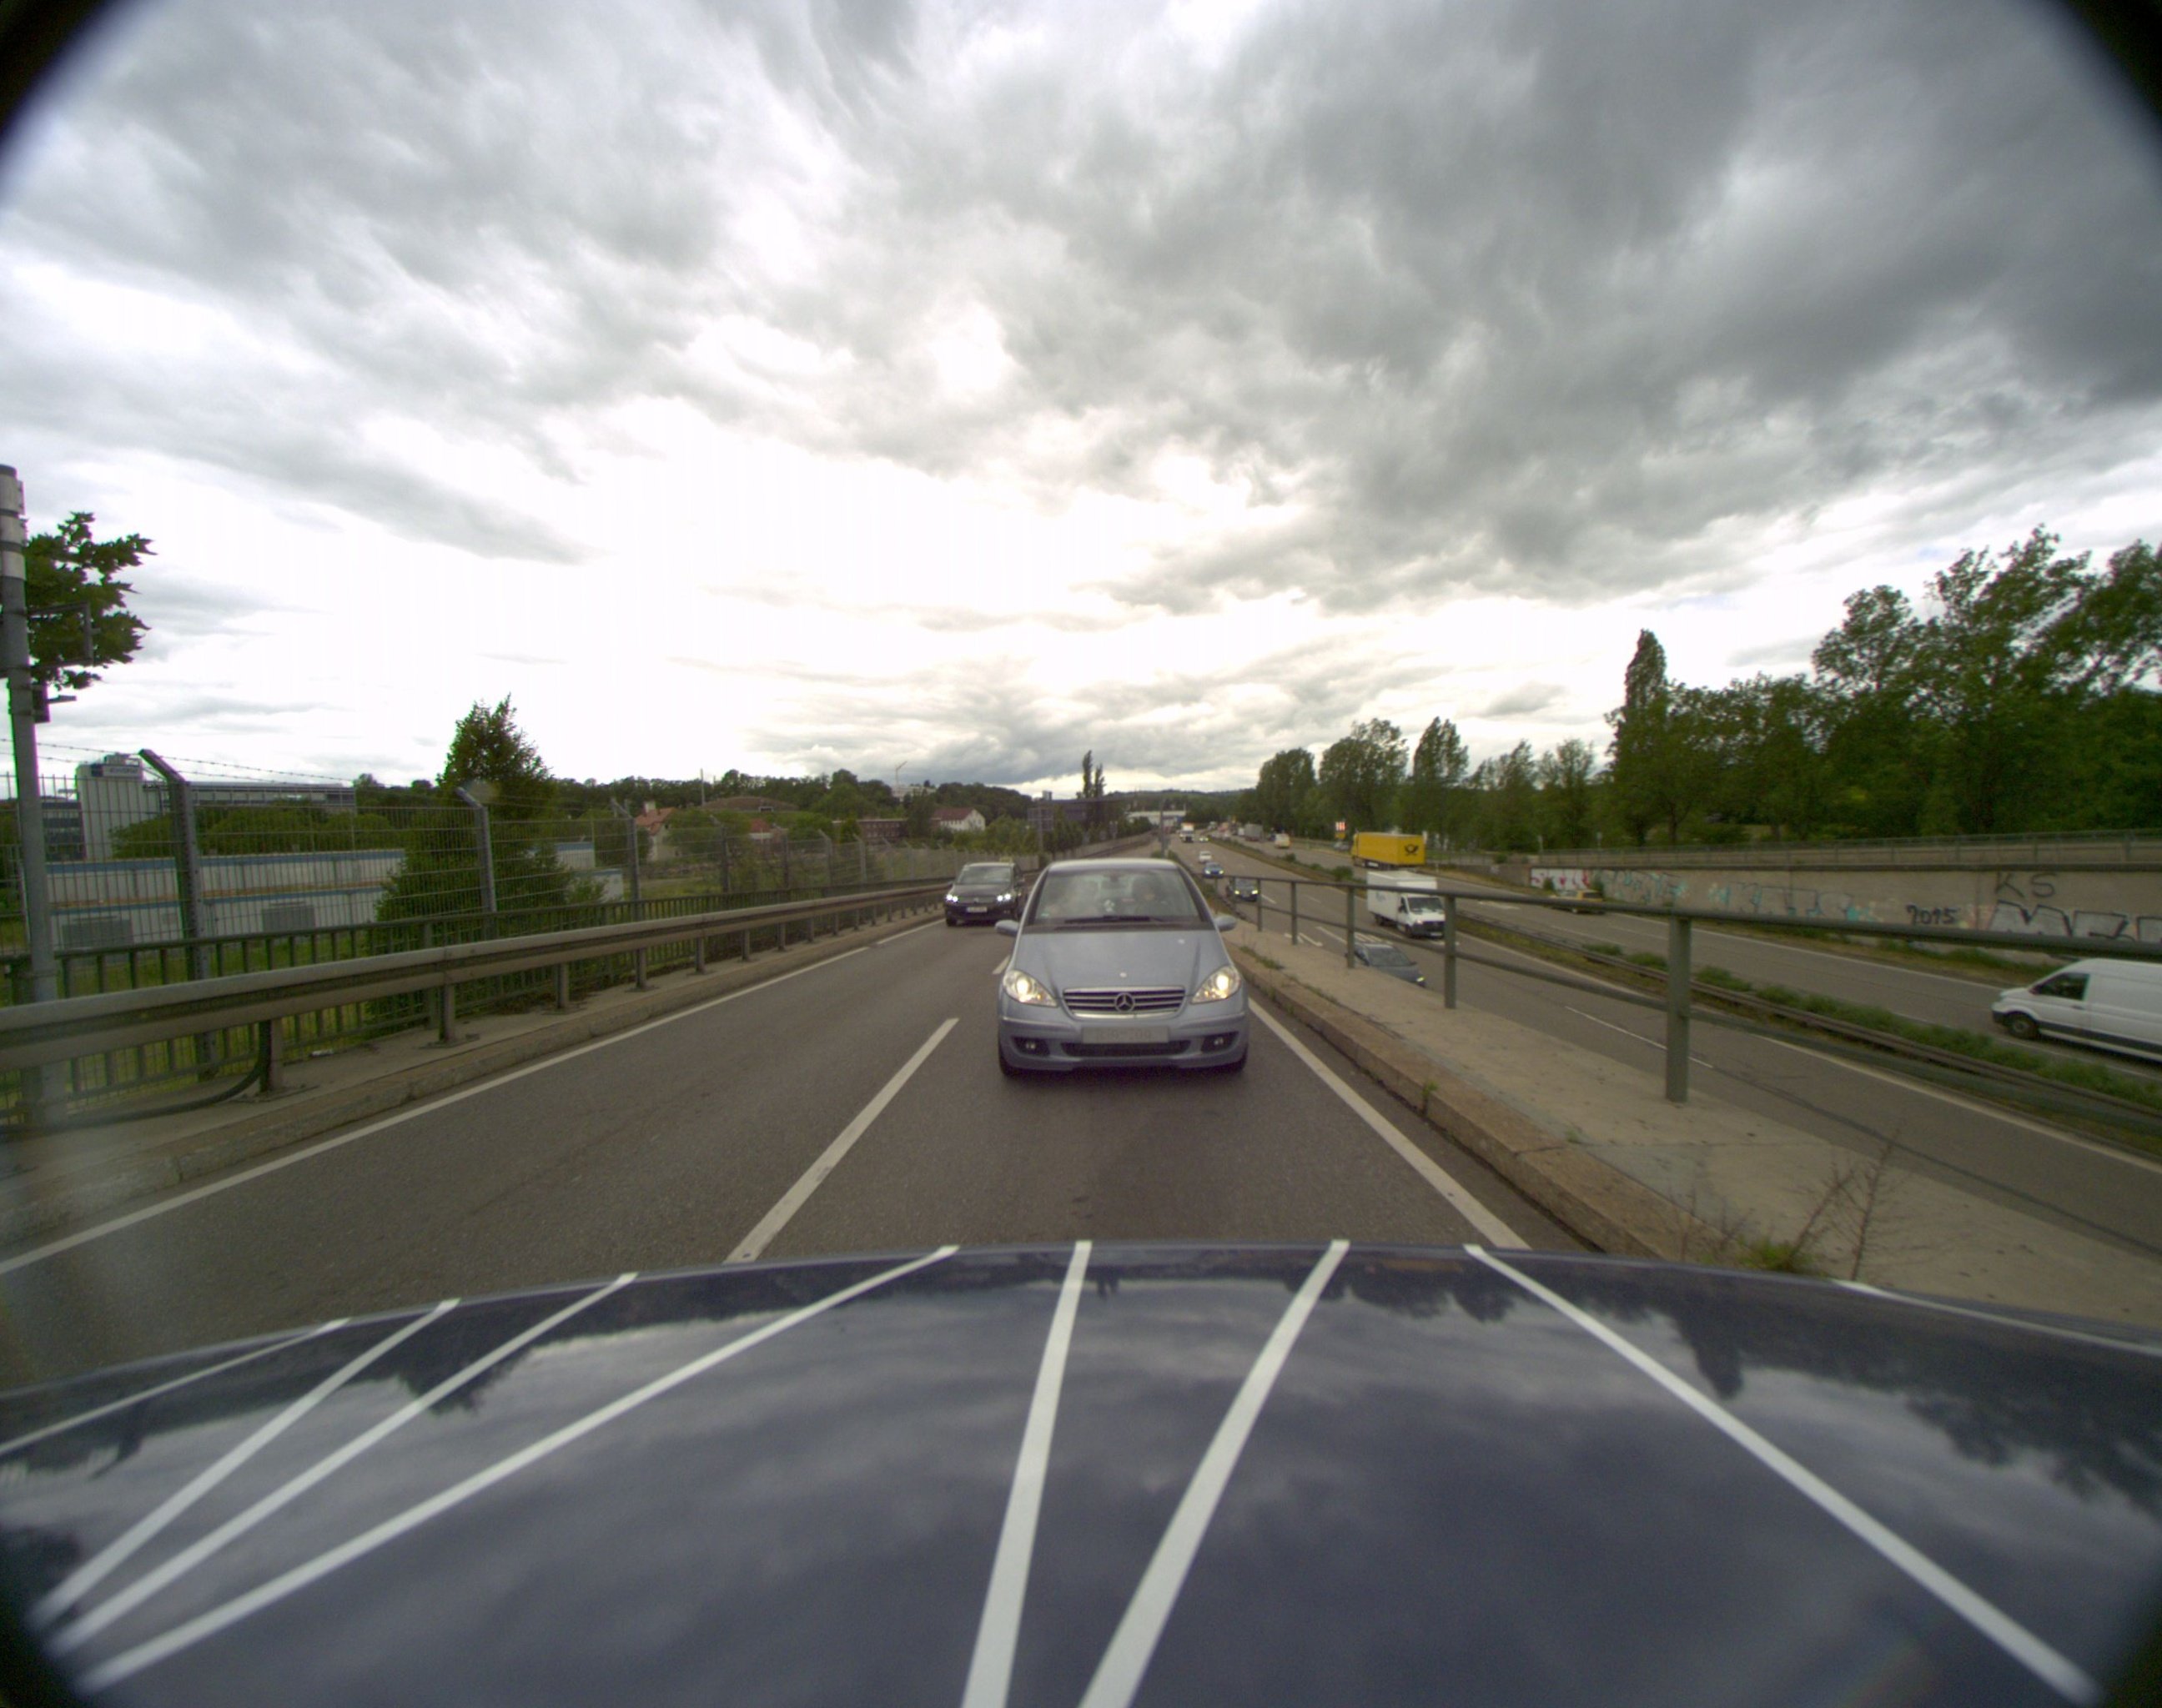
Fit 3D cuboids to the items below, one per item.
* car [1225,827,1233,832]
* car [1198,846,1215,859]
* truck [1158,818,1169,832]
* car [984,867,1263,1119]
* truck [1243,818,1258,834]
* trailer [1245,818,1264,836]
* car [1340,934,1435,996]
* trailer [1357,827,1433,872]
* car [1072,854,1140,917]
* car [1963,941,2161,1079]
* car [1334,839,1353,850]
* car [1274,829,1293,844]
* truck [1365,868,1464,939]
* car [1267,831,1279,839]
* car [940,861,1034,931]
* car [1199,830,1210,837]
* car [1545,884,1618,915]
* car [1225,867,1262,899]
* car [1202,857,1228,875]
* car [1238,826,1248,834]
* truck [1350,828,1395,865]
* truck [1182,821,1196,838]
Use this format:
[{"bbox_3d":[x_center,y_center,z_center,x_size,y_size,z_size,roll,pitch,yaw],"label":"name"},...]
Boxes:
[{"bbox_3d":[45.020,-7.485,231.068,1.682,1.412,3.999,0,3,4],"label":"car"},{"bbox_3d":[16.405,-0.233,99.536,1.769,1.520,3.335,0,3,3],"label":"car"},{"bbox_3d":[25.085,-8.892,232.047,3.101,3.990,8.487,-1,4,5],"label":"truck"},{"bbox_3d":[0.299,0.916,6.784,1.743,1.534,3.993,-1,0,1],"label":"car"},{"bbox_3d":[43.526,-7.246,195.266,2.793,4.117,5.934,-1,3,5],"label":"truck"},{"bbox_3d":[42.942,-6.841,188.586,2.792,4.117,13.760,-1,3,5],"label":"trailer"},{"bbox_3d":[11.047,3.988,27.751,1.828,1.443,4.125,0,3,1],"label":"car"},{"bbox_3d":[33.521,-0.682,81.897,3.248,4.239,13.675,0,3,3],"label":"trailer"},{"bbox_3d":[0.723,0.915,23.240,1.830,1.701,4.001,-2,-1,1],"label":"car"},{"bbox_3d":[26.540,3.953,18.856,2.172,2.580,6.099,-1,3,1],"label":"car"},{"bbox_3d":[43.930,-1.664,127.138,1.897,1.643,4.377,-3,2,3],"label":"car"},{"bbox_3d":[37.404,-3.257,140.684,1.998,2.614,6.711,1,3,3],"label":"car"},{"bbox_3d":[17.708,2.486,40.925,2.239,2.993,7.228,-1,3,1],"label":"truck"},{"bbox_3d":[47.768,-4.655,189.167,1.998,1.890,4.583,2,3,5],"label":"car"},{"bbox_3d":[-2.451,1.057,20.766,1.800,1.643,4.151,-2,0,3],"label":"car"},{"bbox_3d":[29.993,-4.995,184.619,1.854,1.562,4.436,-1,4,2],"label":"car"},{"bbox_3d":[31.409,2.831,47.805,1.872,1.449,4.151,-1,3,1],"label":"car"},{"bbox_3d":[12.018,2.121,56.370,1.998,2.003,3.999,1,3,3],"label":"car"},{"bbox_3d":[13.569,1.211,76.977,1.998,1.524,3.998,0,3,1],"label":"car"},{"bbox_3d":[51.313,-7.655,241.198,1.998,2.635,5.179,2,3,2],"label":"car"},{"bbox_3d":[33.969,-0.949,88.785,3.248,4.159,5.802,0,3,3],"label":"truck"},{"bbox_3d":[25.817,-5.892,182.331,3.010,4.087,5.872,0,3,4],"label":"truck"}]
